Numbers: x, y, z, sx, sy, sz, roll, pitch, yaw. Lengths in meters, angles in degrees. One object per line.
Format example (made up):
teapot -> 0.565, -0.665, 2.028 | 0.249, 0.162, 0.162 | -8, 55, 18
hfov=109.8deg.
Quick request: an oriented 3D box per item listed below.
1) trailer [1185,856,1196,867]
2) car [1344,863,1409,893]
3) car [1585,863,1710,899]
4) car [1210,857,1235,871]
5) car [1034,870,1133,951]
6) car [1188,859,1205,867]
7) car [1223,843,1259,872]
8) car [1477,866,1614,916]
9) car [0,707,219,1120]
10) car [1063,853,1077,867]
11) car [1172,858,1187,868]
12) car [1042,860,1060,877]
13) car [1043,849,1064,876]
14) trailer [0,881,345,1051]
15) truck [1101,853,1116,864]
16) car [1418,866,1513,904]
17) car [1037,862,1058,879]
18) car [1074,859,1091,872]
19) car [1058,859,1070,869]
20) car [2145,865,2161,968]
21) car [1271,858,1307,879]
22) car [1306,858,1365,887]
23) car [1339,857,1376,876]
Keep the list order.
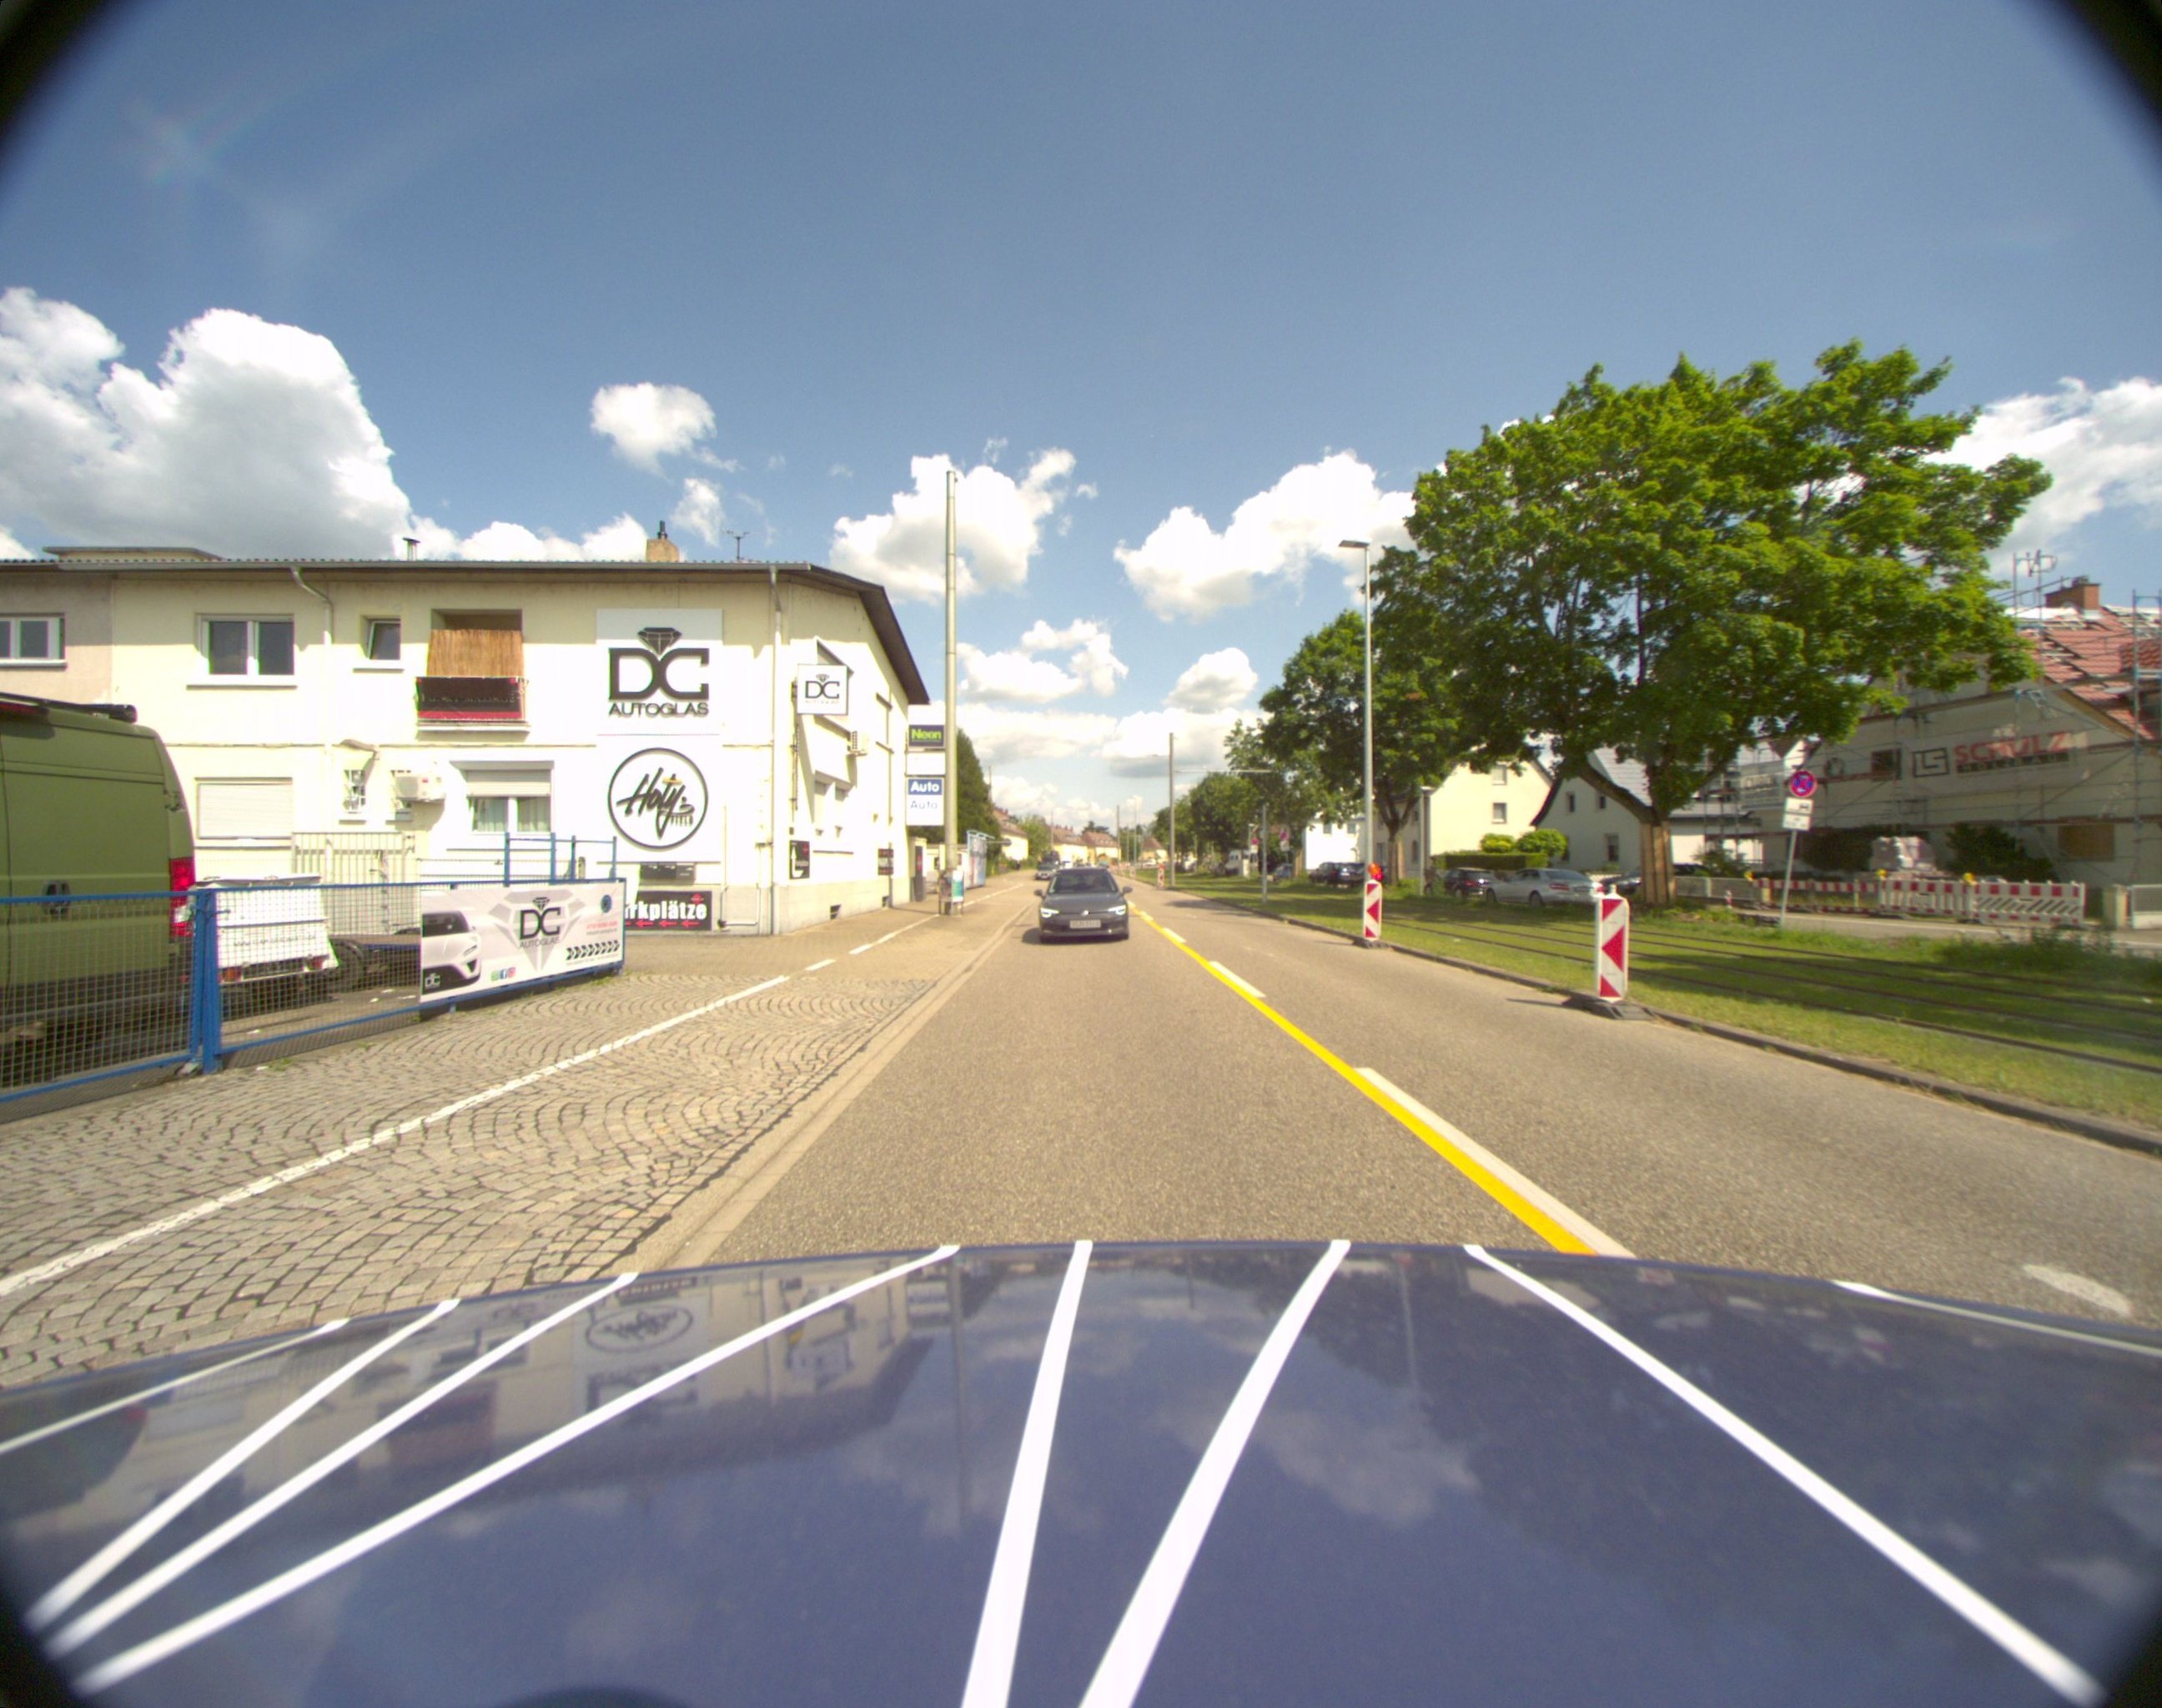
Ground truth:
trailer -> 15.851, 1.054, 110.192 | 1.302, 1.510, 2.282 | 1, 0, 0
car -> 16.406, 1.297, 42.407 | 1.999, 1.430, 3.999 | 2, 0, 0
car -> 24.659, 1.160, 33.160 | 3.997, 1.393, 1.982 | -1, 1, 0
car -> 15.982, 1.081, 85.801 | 1.998, 1.497, 4.486 | 1, 0, 0
car -> 0.000, 1.090, 16.248 | 1.786, 1.412, 4.290 | -2, -1, -1
car -> 15.962, 1.204, 104.945 | 1.786, 1.087, 3.836 | 1, 0, 0
car -> 15.934, 0.373, 76.060 | 1.999, 2.714, 6.461 | 1, 0, -2
car -> 16.154, 1.221, 26.802 | 1.809, 1.474, 4.939 | 1, 0, 0
car -> -8.955, 0.333, 4.844 | 4.547, 2.558, 2.151 | 1, 1, 2
car -> -1.993, 1.042, 133.642 | 1.923, 2.522, 5.346 | 1, 0, 4
car -> 16.232, 1.486, 125.706 | 1.998, 1.530, 4.322 | 1, 0, 1
car -> -2.886, 1.400, 73.242 | 1.696, 1.507, 4.354 | 1, 0, -2
car -> -2.838, 0.850, 79.143 | 2.001, 2.744, 4.878 | 1, 0, 0
trailer -> -8.855, 0.966, 7.043 | 2.789, 1.325, 1.303 | 1, 0, 0
truck -> 7.312, 1.106, 198.387 | 2.530, 2.931, 7.868 | 1, 0, 13
car -> 16.176, 1.266, 32.177 | 1.999, 1.310, 3.852 | 3, 0, 0
car -> -2.983, 1.455, 68.316 | 1.655, 1.423, 4.096 | 1, 0, 1
car -> 0.152, 1.358, 93.951 | 1.999, 1.566, 3.999 | 0, 0, -1
car -> -2.624, 1.514, 120.618 | 1.756, 1.480, 4.627 | 1, 0, 0
car -> 16.220, 0.903, 8.849 | 1.999, 1.444, 3.999 | 1, 0, -2
car -> 15.957, 1.090, 58.493 | 1.758, 1.427, 3.889 | 1, 0, 2
car -> 16.131, 1.153, 48.393 | 1.999, 1.681, 4.390 | 1, 0, -3
car -> 24.629, 1.057, 67.836 | 1.907, 1.568, 4.000 | 1, 0, 0
